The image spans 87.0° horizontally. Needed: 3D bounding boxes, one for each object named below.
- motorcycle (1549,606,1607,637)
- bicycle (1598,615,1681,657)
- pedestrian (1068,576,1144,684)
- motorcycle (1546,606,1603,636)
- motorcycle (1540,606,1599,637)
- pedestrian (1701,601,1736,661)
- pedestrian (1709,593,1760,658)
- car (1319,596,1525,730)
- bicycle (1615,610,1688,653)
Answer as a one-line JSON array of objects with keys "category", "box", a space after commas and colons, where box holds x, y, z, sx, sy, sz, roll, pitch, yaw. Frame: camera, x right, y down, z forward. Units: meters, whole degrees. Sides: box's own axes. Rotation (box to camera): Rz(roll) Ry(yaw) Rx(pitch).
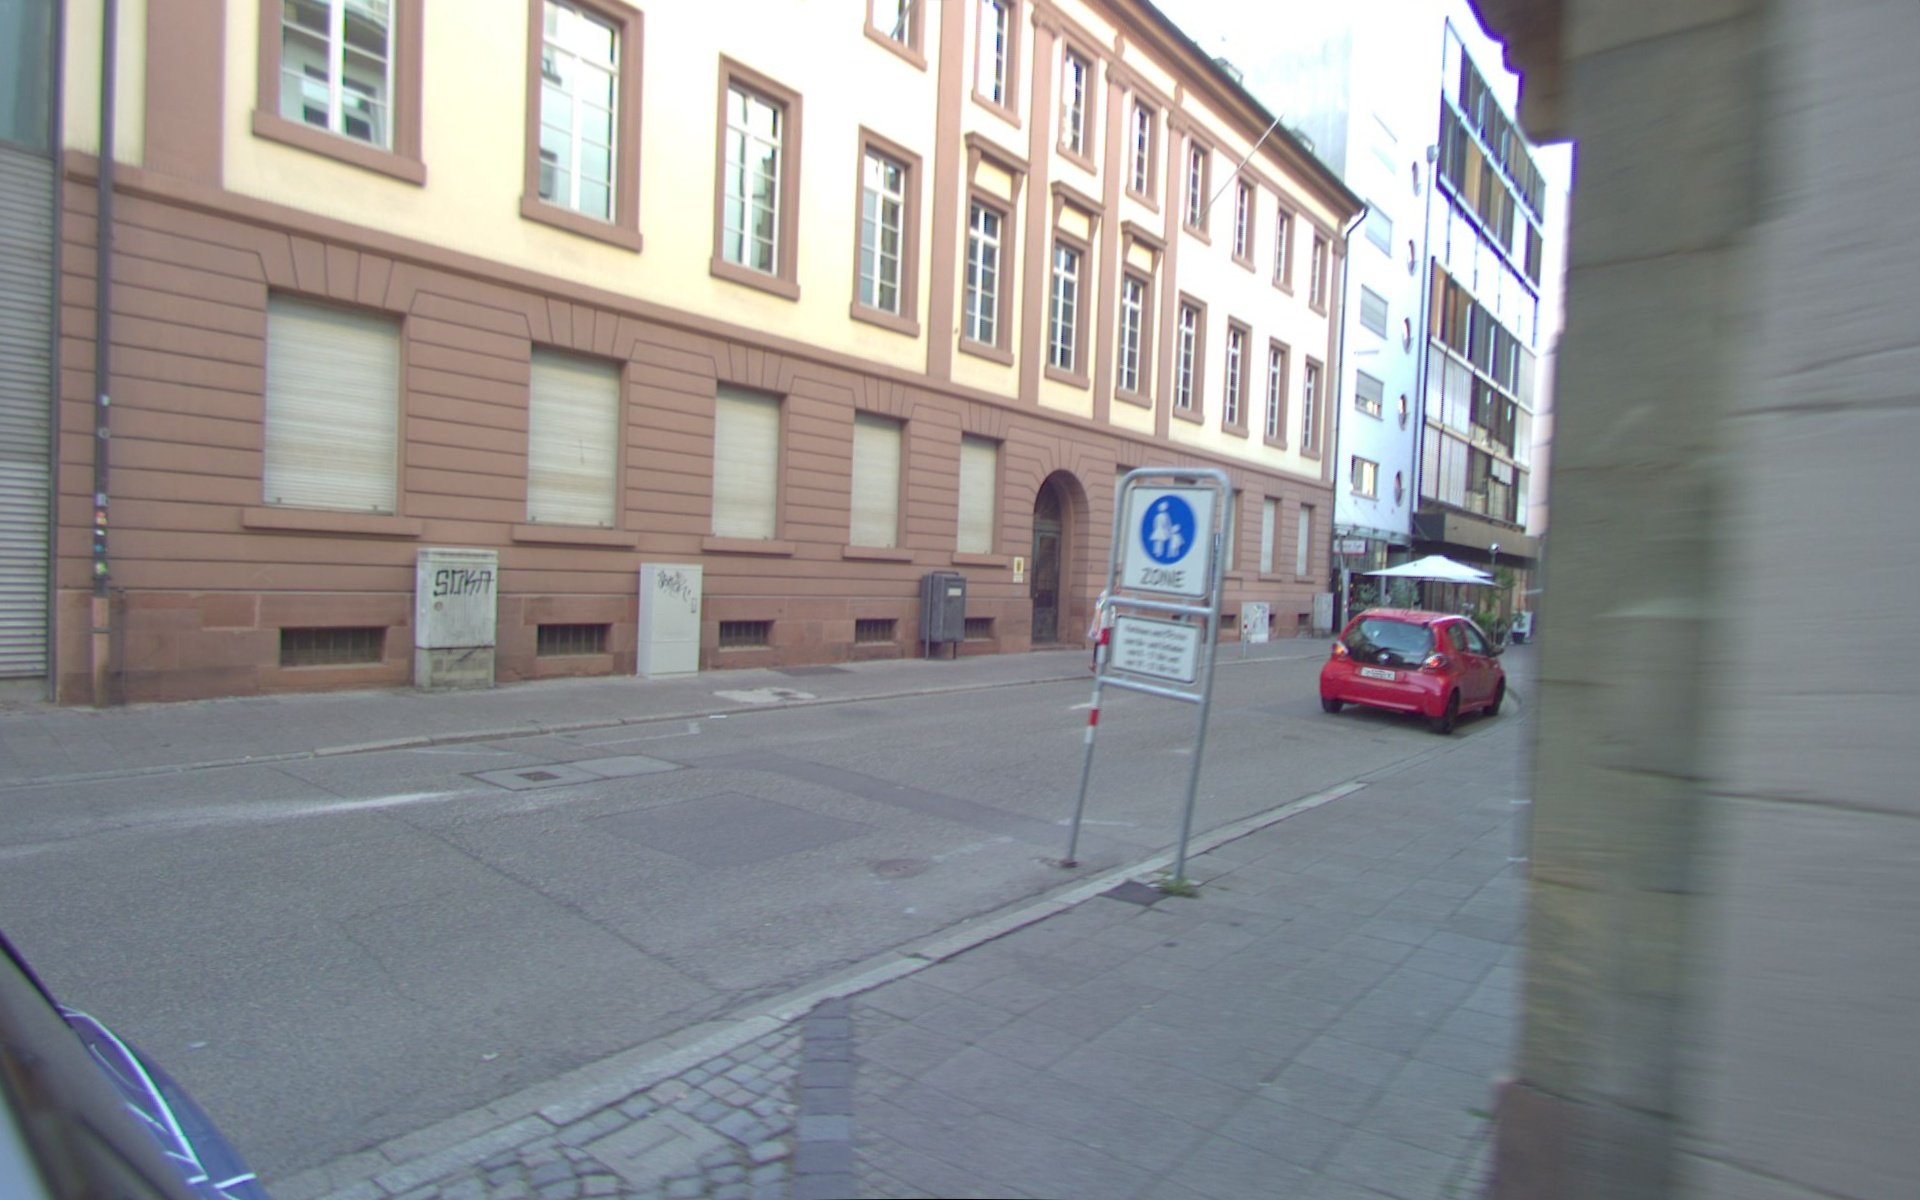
[{"category": "motorcycle", "box": [29.054, 1.011, 47.605, 2.195, 1.292, 0.642, 5, 3, 42]}, {"category": "bicycle", "box": [20.281, 1.048, 30.226, 1.954, 1.138, 0.611, 2, 1, 42]}, {"category": "pedestrian", "box": [2.409, 0.477, 16.671, 0.811, 1.683, 0.919, 4, 2, 38]}, {"category": "motorcycle", "box": [29.844, 1.010, 49.170, 2.195, 1.292, 0.642, 5, 3, 42]}, {"category": "motorcycle", "box": [28.306, 0.991, 47.005, 2.195, 1.292, 0.642, 5, 3, 42]}, {"category": "pedestrian", "box": [22.304, 0.896, 29.746, 0.671, 1.683, 0.753, 5, 2, 42]}, {"category": "pedestrian", "box": [21.082, 0.683, 27.573, 0.807, 1.683, 0.923, 4, 2, 24]}, {"category": "car", "box": [6.352, 0.763, 13.770, 1.638, 1.451, 3.114, 7, 4, 40]}, {"category": "bicycle", "box": [19.613, 0.875, 28.713, 1.608, 1.127, 0.611, 2, 1, 42]}]
